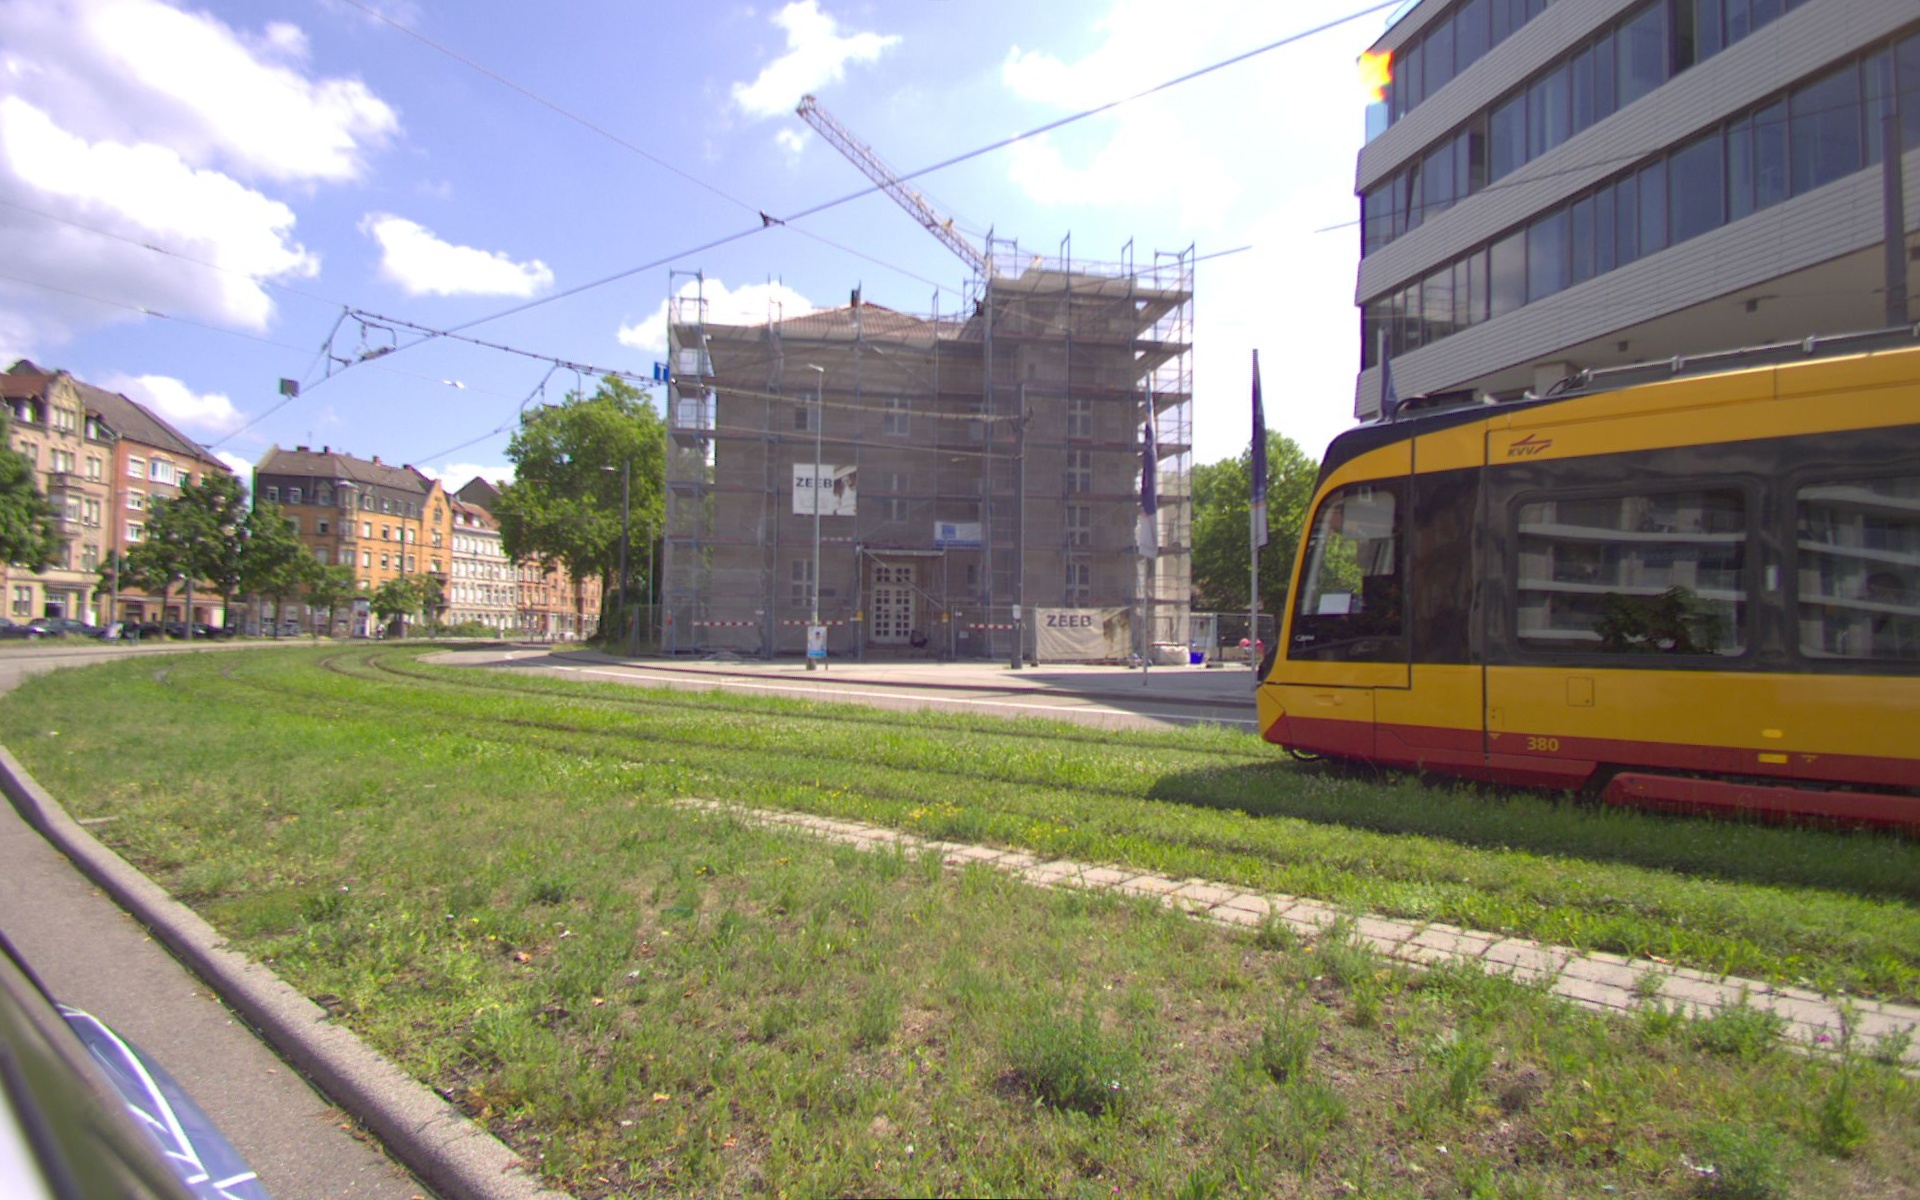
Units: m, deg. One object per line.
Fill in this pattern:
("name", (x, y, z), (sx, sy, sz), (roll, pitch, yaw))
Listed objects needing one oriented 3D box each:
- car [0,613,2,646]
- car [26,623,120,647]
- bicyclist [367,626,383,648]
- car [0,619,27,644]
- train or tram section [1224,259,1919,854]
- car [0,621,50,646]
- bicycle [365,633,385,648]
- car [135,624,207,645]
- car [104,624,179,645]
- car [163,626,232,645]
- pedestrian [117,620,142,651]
("car", (-52.283, 1.546, 52.059), (1.853, 1.754, 4.303), (-2, -2, 43))
("car", (-54.402, 2.130, 62.114), (1.853, 1.391, 4.208), (-2, -2, 43))
("bicyclist", (-50.197, 3.203, 86.905), (0.686, 1.838, 0.958), (6, -4, -7))
("car", (-63.896, 2.076, 66.382), (1.808, 1.628, 4.505), (0, -1, -10))
("train or tram section", (8.425, -0.243, 5.881), (13.502, 3.627, 3.180), (-1, -4, 44))
("car", (-53.150, 1.858, 55.855), (1.853, 1.391, 4.208), (-2, -2, 43))
("bicycle", (-50.223, 3.476, 86.945), (0.685, 1.251, 1.842), (6, -4, -7))
("car", (-56.302, 2.437, 72.245), (3.939, 1.391, 1.963), (1, -2, -43))
("car", (-55.821, 2.341, 69.109), (3.935, 1.391, 1.965), (1, -2, -38))
("car", (-56.915, 2.628, 75.635), (3.932, 1.364, 1.967), (0, -2, -33))
("pedestrian", (-47.053, 2.002, 57.332), (0.691, 1.717, 1.047), (1, 1, -12))
